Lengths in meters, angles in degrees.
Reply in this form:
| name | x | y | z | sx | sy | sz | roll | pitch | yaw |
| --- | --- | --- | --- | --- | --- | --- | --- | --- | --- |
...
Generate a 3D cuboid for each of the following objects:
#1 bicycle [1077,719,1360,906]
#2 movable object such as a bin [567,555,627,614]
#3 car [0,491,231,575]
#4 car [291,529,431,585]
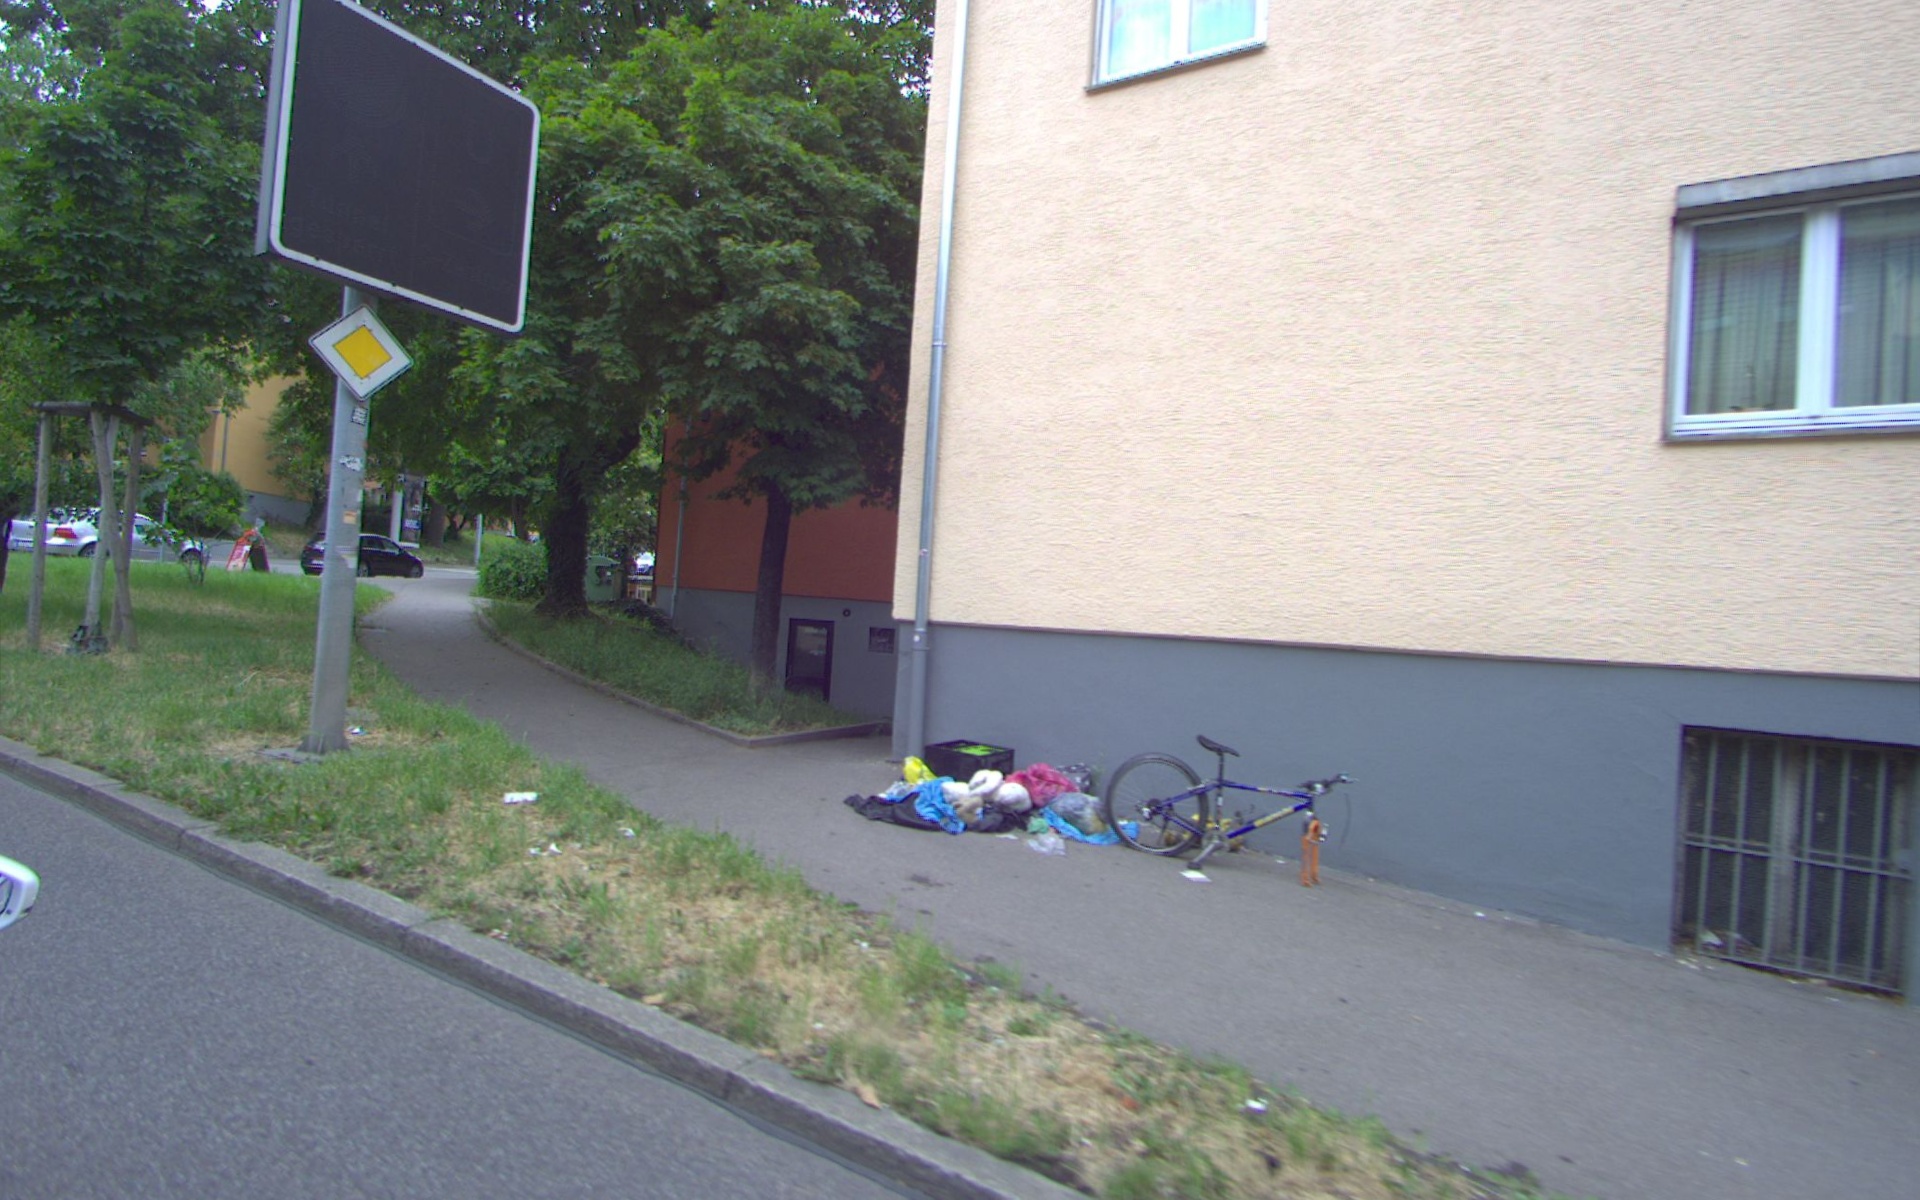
| name | x | y | z | sx | sy | sz | roll | pitch | yaw |
| --- | --- | --- | --- | --- | --- | --- | --- | --- | --- |
| bicycle | 1.552 | 1.243 | 6.147 | 1.532 | 0.782 | 0.489 | 6 | 0 | 32 |
| movable object such as a bin | -9.843 | -0.410 | 27.326 | 1.220 | 1.469 | 1.081 | 4 | 1 | -6 |
| car | -19.611 | -1.496 | 23.342 | 1.827 | 1.446 | 4.131 | 7 | 0 | 12 |
| car | -18.781 | -1.307 | 31.771 | 1.704 | 1.446 | 4.130 | 5 | 0 | 3 |
